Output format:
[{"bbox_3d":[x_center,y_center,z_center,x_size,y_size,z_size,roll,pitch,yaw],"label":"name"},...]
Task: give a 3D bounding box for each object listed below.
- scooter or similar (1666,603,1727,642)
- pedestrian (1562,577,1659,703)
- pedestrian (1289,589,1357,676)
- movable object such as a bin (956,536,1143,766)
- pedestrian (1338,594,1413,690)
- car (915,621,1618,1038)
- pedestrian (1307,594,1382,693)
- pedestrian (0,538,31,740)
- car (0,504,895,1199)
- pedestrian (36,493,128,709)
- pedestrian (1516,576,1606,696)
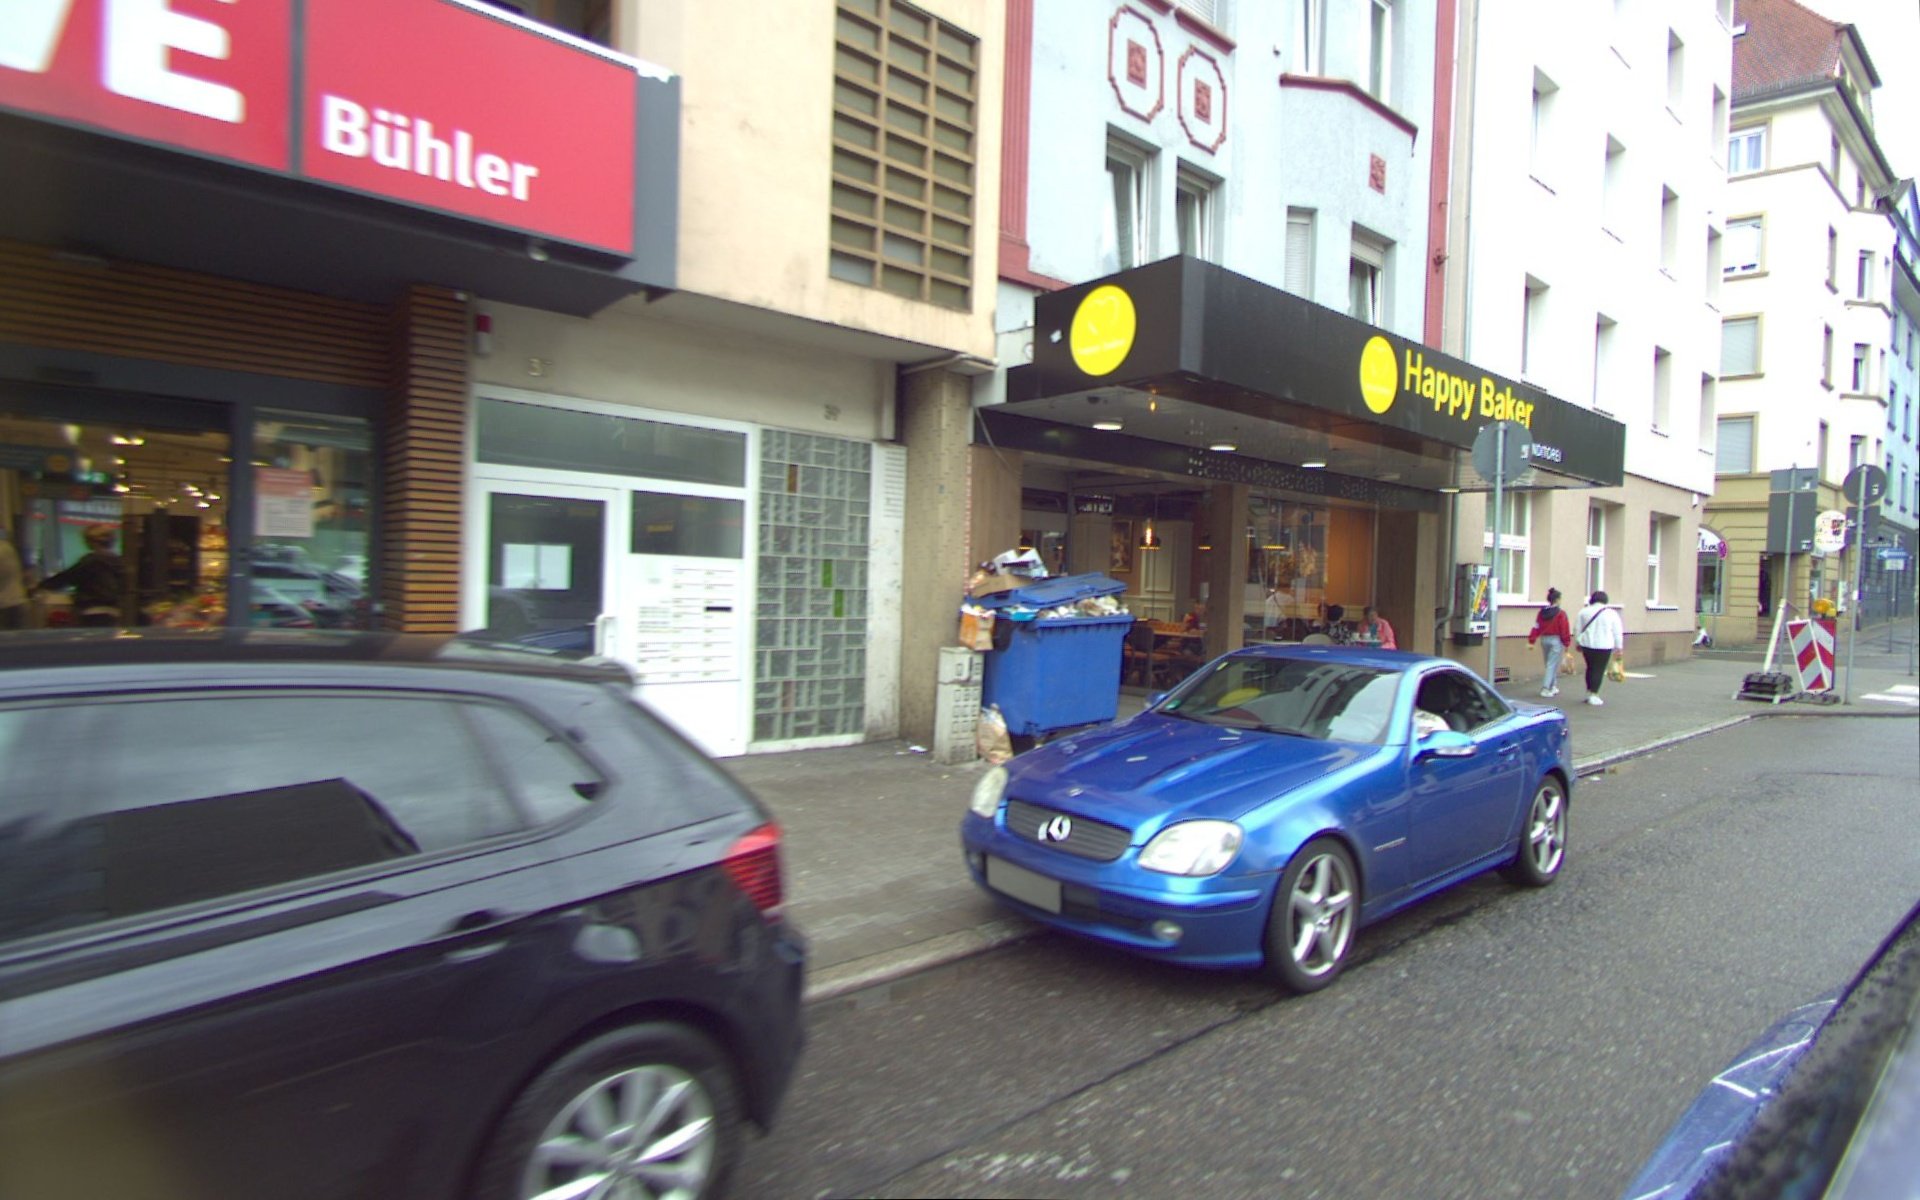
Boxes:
[{"bbox_3d":[23.303,0.699,32.025,1.457,1.163,0.486,-1,5,12],"label":"scooter or similar"},{"bbox_3d":[9.083,0.538,14.155,0.767,1.667,0.705,2,2,-6],"label":"pedestrian"},{"bbox_3d":[5.618,0.488,15.666,0.647,1.273,0.703,1,3,-40],"label":"pedestrian"},{"bbox_3d":[0.777,0.378,8.798,1.274,1.815,1.001,-1,2,-42],"label":"movable object such as a bin"},{"bbox_3d":[5.886,0.582,14.346,0.647,1.273,0.703,1,3,-40],"label":"pedestrian"},{"bbox_3d":[1.762,0.822,5.299,3.698,1.327,1.739,0,0,-38],"label":"car"},{"bbox_3d":[5.214,0.575,13.723,0.645,1.273,0.625,1,3,-32],"label":"pedestrian"},{"bbox_3d":[-8.822,0.340,9.110,0.494,1.800,0.614,1,1,41],"label":"pedestrian"},{"bbox_3d":[-2.206,0.640,1.889,3.911,1.567,1.733,1,-1,-40],"label":"car"},{"bbox_3d":[-8.524,0.004,9.826,0.630,2.008,0.572,0,1,-44],"label":"pedestrian"},{"bbox_3d":[8.812,0.508,14.854,0.767,1.667,0.705,2,2,-6],"label":"pedestrian"}]
